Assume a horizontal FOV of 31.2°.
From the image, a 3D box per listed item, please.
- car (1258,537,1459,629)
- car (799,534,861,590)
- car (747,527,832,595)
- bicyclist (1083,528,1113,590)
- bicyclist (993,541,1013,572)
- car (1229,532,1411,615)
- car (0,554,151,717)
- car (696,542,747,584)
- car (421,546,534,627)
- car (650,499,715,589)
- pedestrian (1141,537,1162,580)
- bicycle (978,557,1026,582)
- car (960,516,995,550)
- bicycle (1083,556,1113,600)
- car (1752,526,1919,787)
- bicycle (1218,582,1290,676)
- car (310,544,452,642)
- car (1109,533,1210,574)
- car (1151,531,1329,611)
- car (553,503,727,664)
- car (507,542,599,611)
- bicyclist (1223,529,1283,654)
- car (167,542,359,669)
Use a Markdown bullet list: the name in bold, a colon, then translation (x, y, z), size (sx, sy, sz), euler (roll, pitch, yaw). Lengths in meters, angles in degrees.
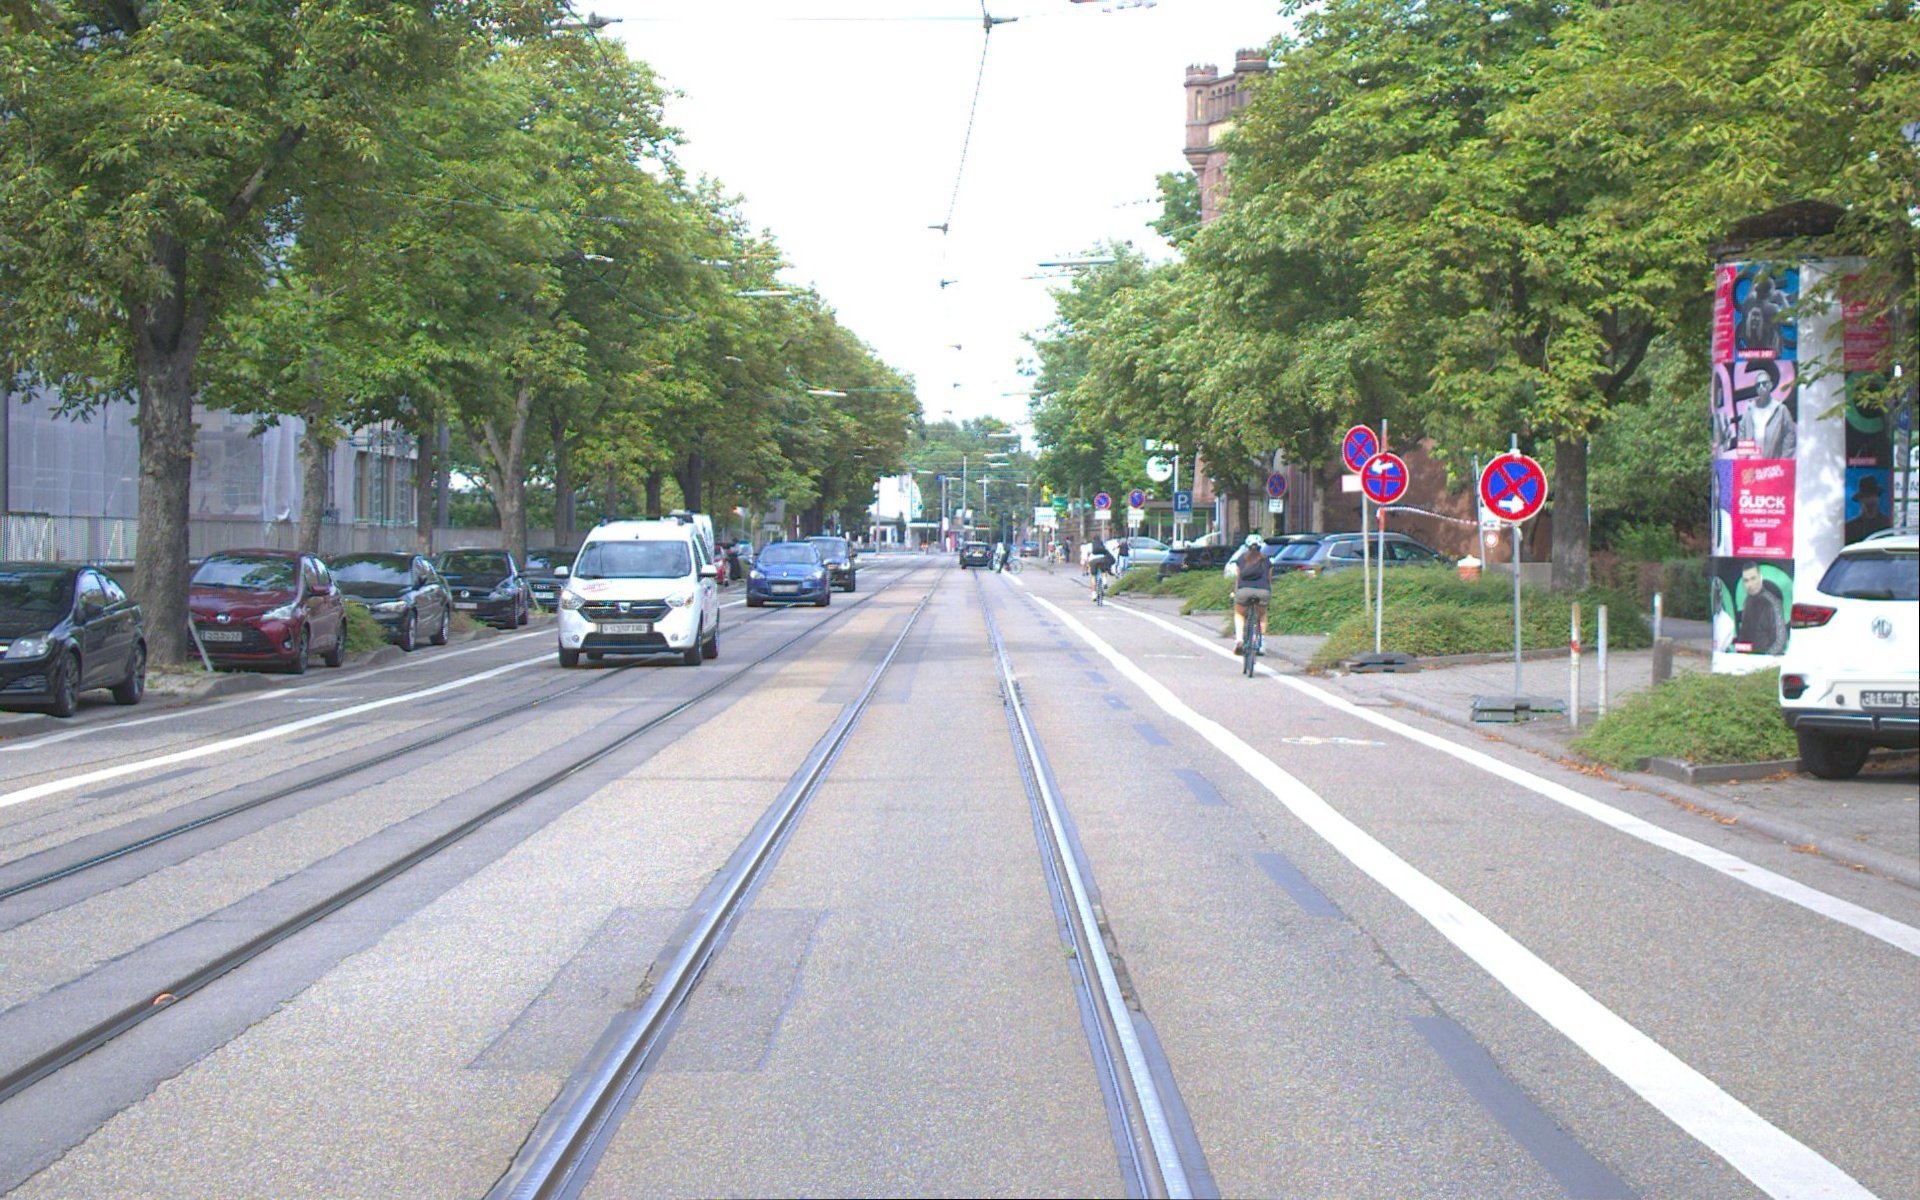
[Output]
- **car**: translation (7.153, -0.314, 61.595), size (1.681, 1.597, 3.637), euler (1, 1, 45)
- **car**: translation (-3.874, -1.169, 103.177), size (1.732, 1.623, 4.378), euler (-1, 1, -1)
- **car**: translation (-3.869, -0.913, 78.425), size (1.732, 1.491, 4.378), euler (0, 1, 0)
- **bicyclist**: translation (3.340, -1.005, 83.256), size (0.659, 1.491, 0.929), euler (1, 1, 1)
- **bicyclist**: translation (2.106, -2.140, 167.874), size (0.847, 1.499, 0.768), euler (1, 1, 8)
- **car**: translation (7.176, -0.528, 68.392), size (1.681, 1.597, 3.637), euler (1, 1, 45)
- **car**: translation (-8.801, 0.288, 32.260), size (1.590, 1.398, 3.963), euler (1, 1, -2)
- **car**: translation (-8.242, -1.296, 118.975), size (1.590, 1.398, 3.963), euler (1, 1, -2)
- **car**: translation (-8.730, -0.269, 62.430), size (1.590, 1.398, 3.963), euler (1, 1, -2)
- **car**: translation (-8.568, -1.747, 106.481), size (1.720, 2.695, 5.471), euler (1, 1, -2)
- **pedestrian**: translation (8.065, -1.757, 144.760), size (0.748, 1.783, 0.730), euler (1, 0, 15)
- **bicycle**: translation (2.053, -1.496, 167.898), size (2.275, 1.185, 0.768), euler (1, 1, 8)
- **car**: translation (0.957, -3.635, 186.905), size (1.795, 1.817, 4.679), euler (1, 1, -1)
- **bicycle**: translation (3.330, -0.535, 83.263), size (0.663, 1.040, 1.841), euler (1, 1, 1)
- **car**: translation (6.916, 0.340, 22.554), size (1.681, 1.597, 3.637), euler (1, 1, 45)
- **bicycle**: translation (3.447, 0.325, 40.445), size (0.592, 1.040, 1.978), euler (1, 1, -2)
- **car**: translation (-8.734, -0.128, 52.118), size (1.590, 1.398, 3.963), euler (1, 1, -2)
- **car**: translation (8.381, -1.964, 144.751), size (3.986, 1.687, 2.000), euler (1, 1, -5)
- **car**: translation (5.766, -0.589, 70.539), size (1.681, 1.597, 3.637), euler (1, 1, 45)
- **car**: translation (-3.936, -0.238, 42.829), size (1.732, 1.878, 4.378), euler (1, 1, 0)
- **car**: translation (-8.574, -0.517, 72.727), size (1.590, 1.398, 3.963), euler (1, 1, -2)
- **bicyclist**: translation (3.452, -0.107, 40.536), size (0.592, 1.454, 0.875), euler (1, 1, -2)
- **car**: translation (-8.646, 0.029, 42.917), size (1.635, 1.491, 3.963), euler (1, 1, -1)
